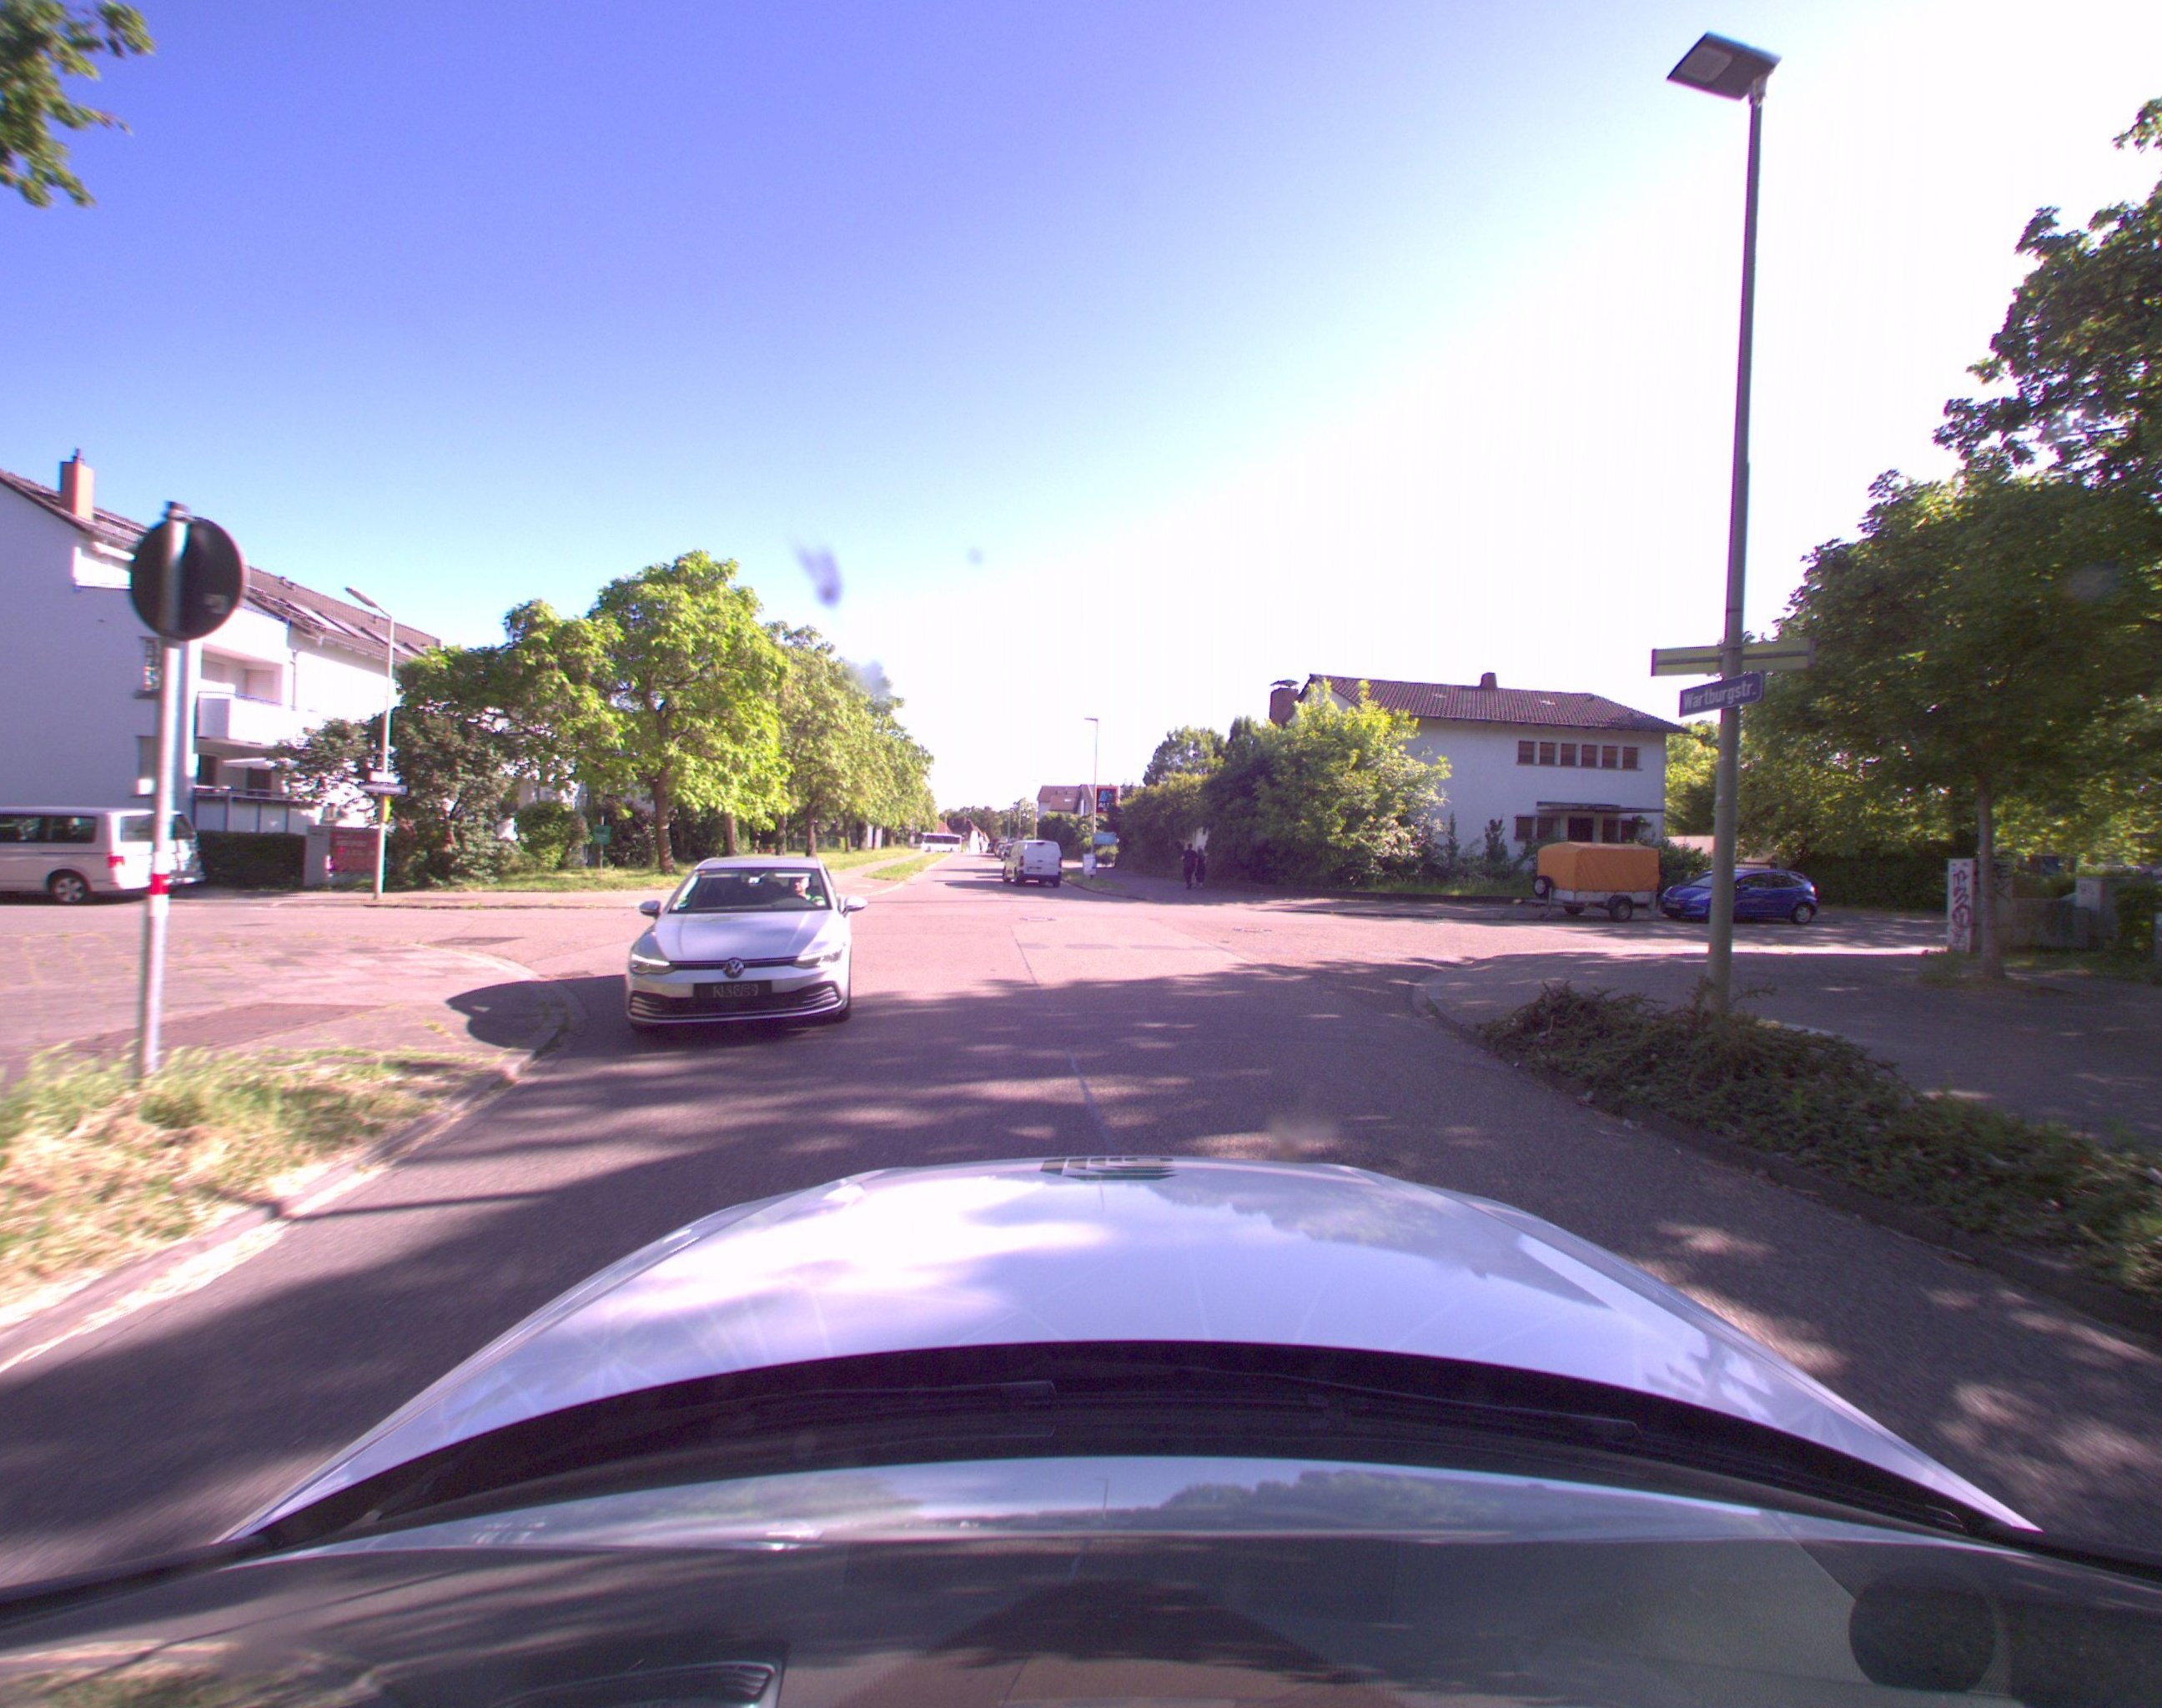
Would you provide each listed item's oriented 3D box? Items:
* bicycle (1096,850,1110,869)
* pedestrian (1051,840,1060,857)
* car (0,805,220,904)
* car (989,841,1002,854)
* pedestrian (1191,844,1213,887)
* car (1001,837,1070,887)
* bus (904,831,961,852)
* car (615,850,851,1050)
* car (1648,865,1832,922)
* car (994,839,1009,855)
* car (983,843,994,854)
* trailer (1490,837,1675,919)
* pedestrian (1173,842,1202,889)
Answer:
[{"bbox_3d":[1.439,0.387,53.331,0.716,1.221,1.900,-1,-1,9],"label":"bicycle"},{"bbox_3d":[-2.618,-0.565,83.403,0.796,1.781,0.809,1,1,0],"label":"pedestrian"},{"bbox_3d":[-21.688,-0.029,17.240,4.444,1.969,2.065,1,1,-5],"label":"car"},{"bbox_3d":[-13.526,-1.022,129.056,1.803,1.785,3.988,4,-1,-9],"label":"car"},{"bbox_3d":[4.570,0.433,30.768,0.573,1.609,0.789,0,-1,-11],"label":"pedestrian"},{"bbox_3d":[-1.956,0.298,33.469,1.997,1.881,4.267,1,0,-15],"label":"car"},{"bbox_3d":[-21.797,-1.782,120.605,3.011,2.824,10.648,2,1,22],"label":"bus"},{"bbox_3d":[-3.233,0.723,8.226,1.665,1.466,4.164,0,-1,-17],"label":"car"},{"bbox_3d":[18.624,1.098,23.102,3.914,1.512,1.885,1,-1,-7],"label":"car"},{"bbox_3d":[-10.067,-0.894,102.576,1.722,1.837,3.991,2,0,-7],"label":"car"},{"bbox_3d":[-17.558,-1.063,154.761,1.803,2.069,3.988,4,-1,-9],"label":"car"},{"bbox_3d":[13.851,0.645,22.623,4.059,2.119,1.973,1,1,-9],"label":"trailer"},{"bbox_3d":[3.976,0.435,30.432,0.804,1.717,0.980,0,-1,-11],"label":"pedestrian"}]
